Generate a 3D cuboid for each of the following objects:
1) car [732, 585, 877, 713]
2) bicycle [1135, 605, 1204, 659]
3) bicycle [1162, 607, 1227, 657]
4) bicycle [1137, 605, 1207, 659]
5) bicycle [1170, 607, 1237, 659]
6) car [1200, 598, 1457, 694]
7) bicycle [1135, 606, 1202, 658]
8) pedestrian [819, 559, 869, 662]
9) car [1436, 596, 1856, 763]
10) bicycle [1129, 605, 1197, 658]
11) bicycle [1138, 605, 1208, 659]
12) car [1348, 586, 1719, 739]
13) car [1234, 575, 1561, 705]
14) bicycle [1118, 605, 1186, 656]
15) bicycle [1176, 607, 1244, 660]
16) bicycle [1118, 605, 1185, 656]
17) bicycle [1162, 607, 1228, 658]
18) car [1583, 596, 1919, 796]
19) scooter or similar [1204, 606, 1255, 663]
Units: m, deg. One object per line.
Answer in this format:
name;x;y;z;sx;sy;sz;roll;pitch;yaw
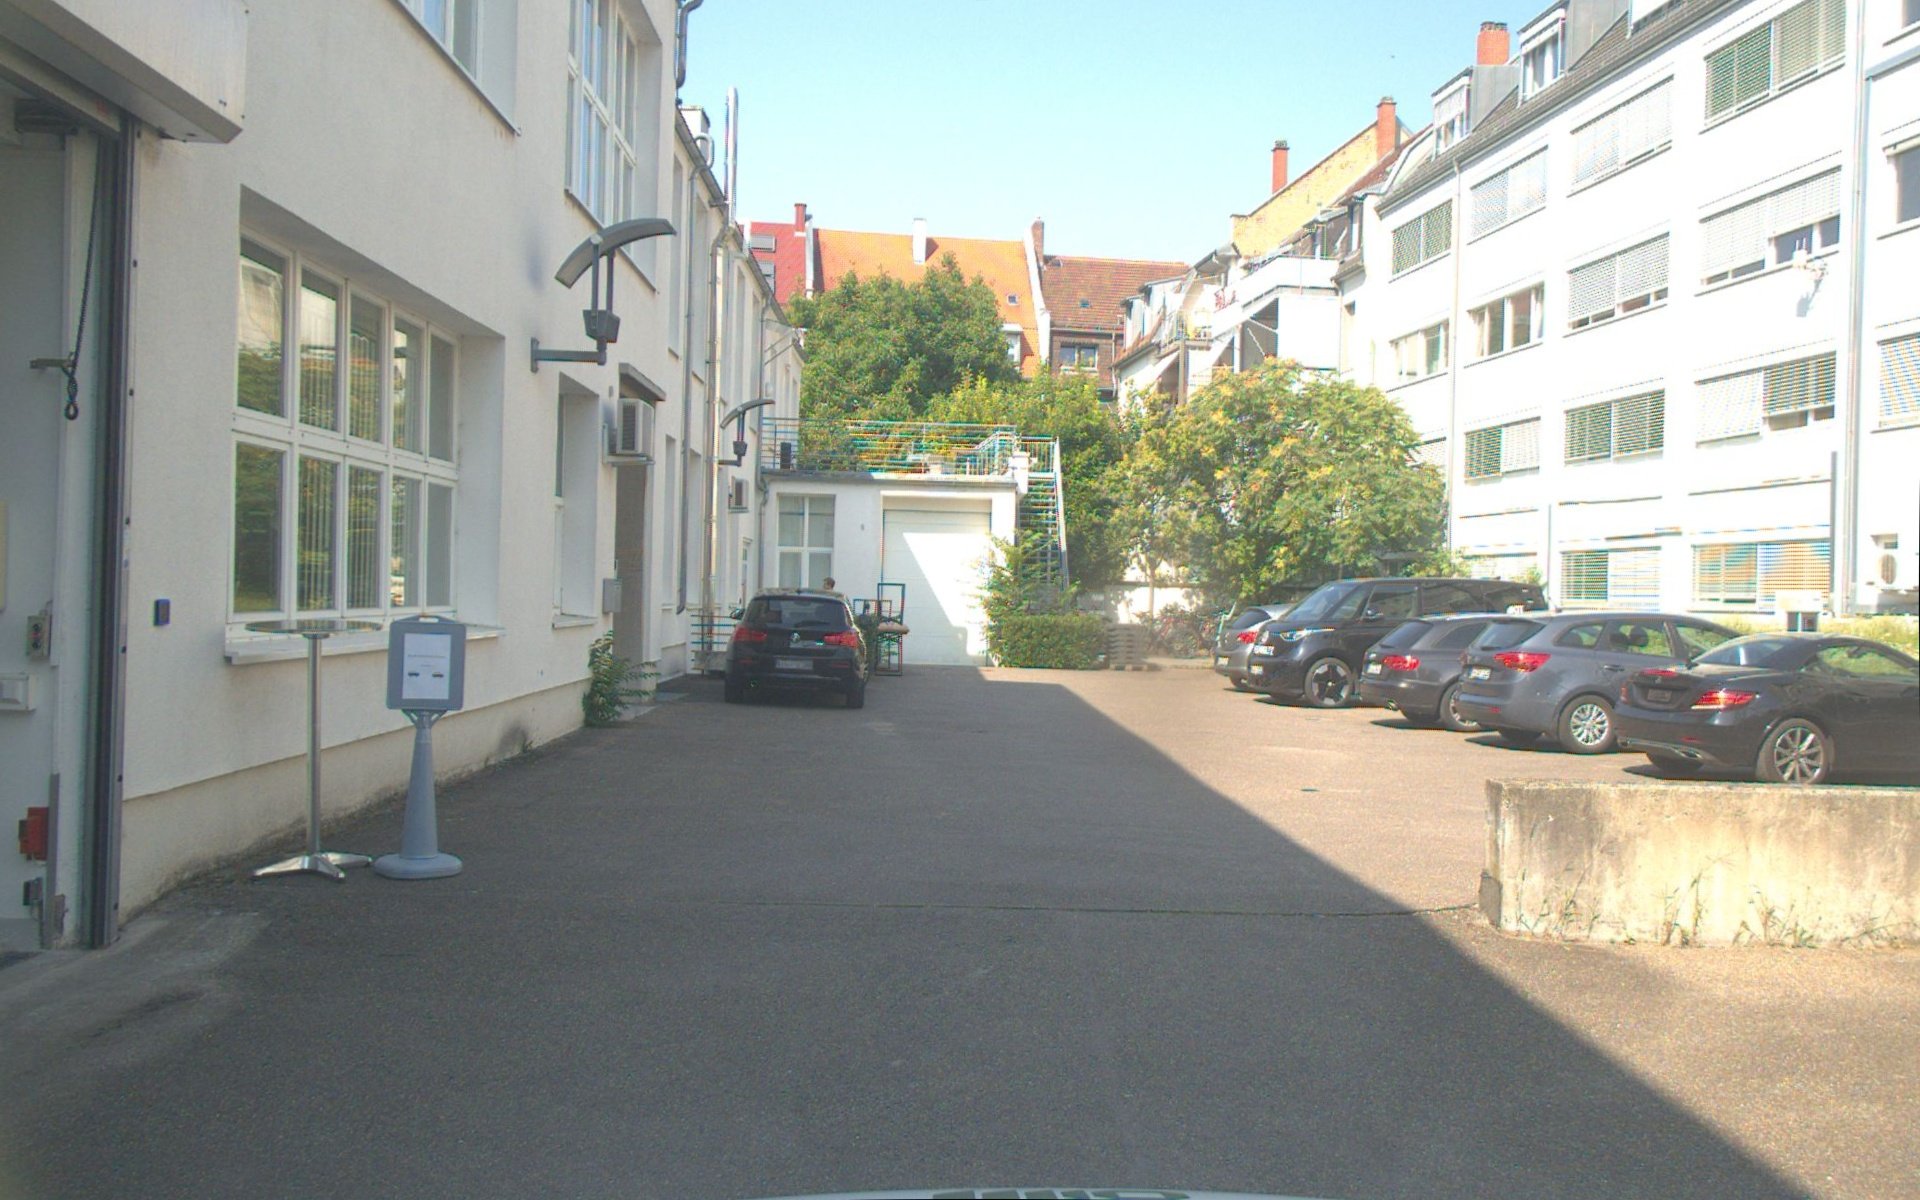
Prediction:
car;-1.957;0.596;21.729;1.654;1.484;3.921;2;0;-3
bicycle;4.974;0.756;39.223;1.590;1.235;0.327;1;0;0
bicycle;5.961;0.807;42.059;1.588;1.235;0.424;1;0;11
bicycle;4.949;0.751;38.607;1.590;1.235;0.327;1;0;0
bicycle;5.951;0.796;40.456;1.588;1.235;0.424;1;0;12
car;6.193;0.774;27.944;3.861;1.508;1.770;1;-1;-11
bicycle;5.000;0.759;39.675;1.588;1.235;0.327;1;0;9
pedestrian;-2.361;0.212;33.797;0.895;2.049;0.934;2;-1;-1
car;7.400;0.838;18.063;3.788;1.617;1.877;2;-1;-6
bicycle;4.917;0.759;40.037;1.588;1.235;0.327;1;0;12
bicycle;5.008;0.755;38.930;1.590;1.235;0.327;1;0;0
car;7.160;0.767;20.877;4.036;1.721;1.770;2;-1;-4
car;6.577;0.605;25.069;4.419;1.826;1.878;1;-1;-11
bicycle;4.720;0.757;40.710;1.590;1.235;0.424;1;0;-2
bicycle;5.986;0.791;39.597;1.588;1.235;0.327;1;0;14
bicycle;4.791;0.764;41.346;1.592;1.235;0.423;1;0;-7
bicycle;5.840;0.796;41.031;1.588;1.235;0.424;1;0;11
car;7.833;0.842;14.868;3.731;1.617;1.892;2;-1;-11
scooter or similar;6.258;0.799;38.392;0.375;1.283;1.333;1;0;-33
